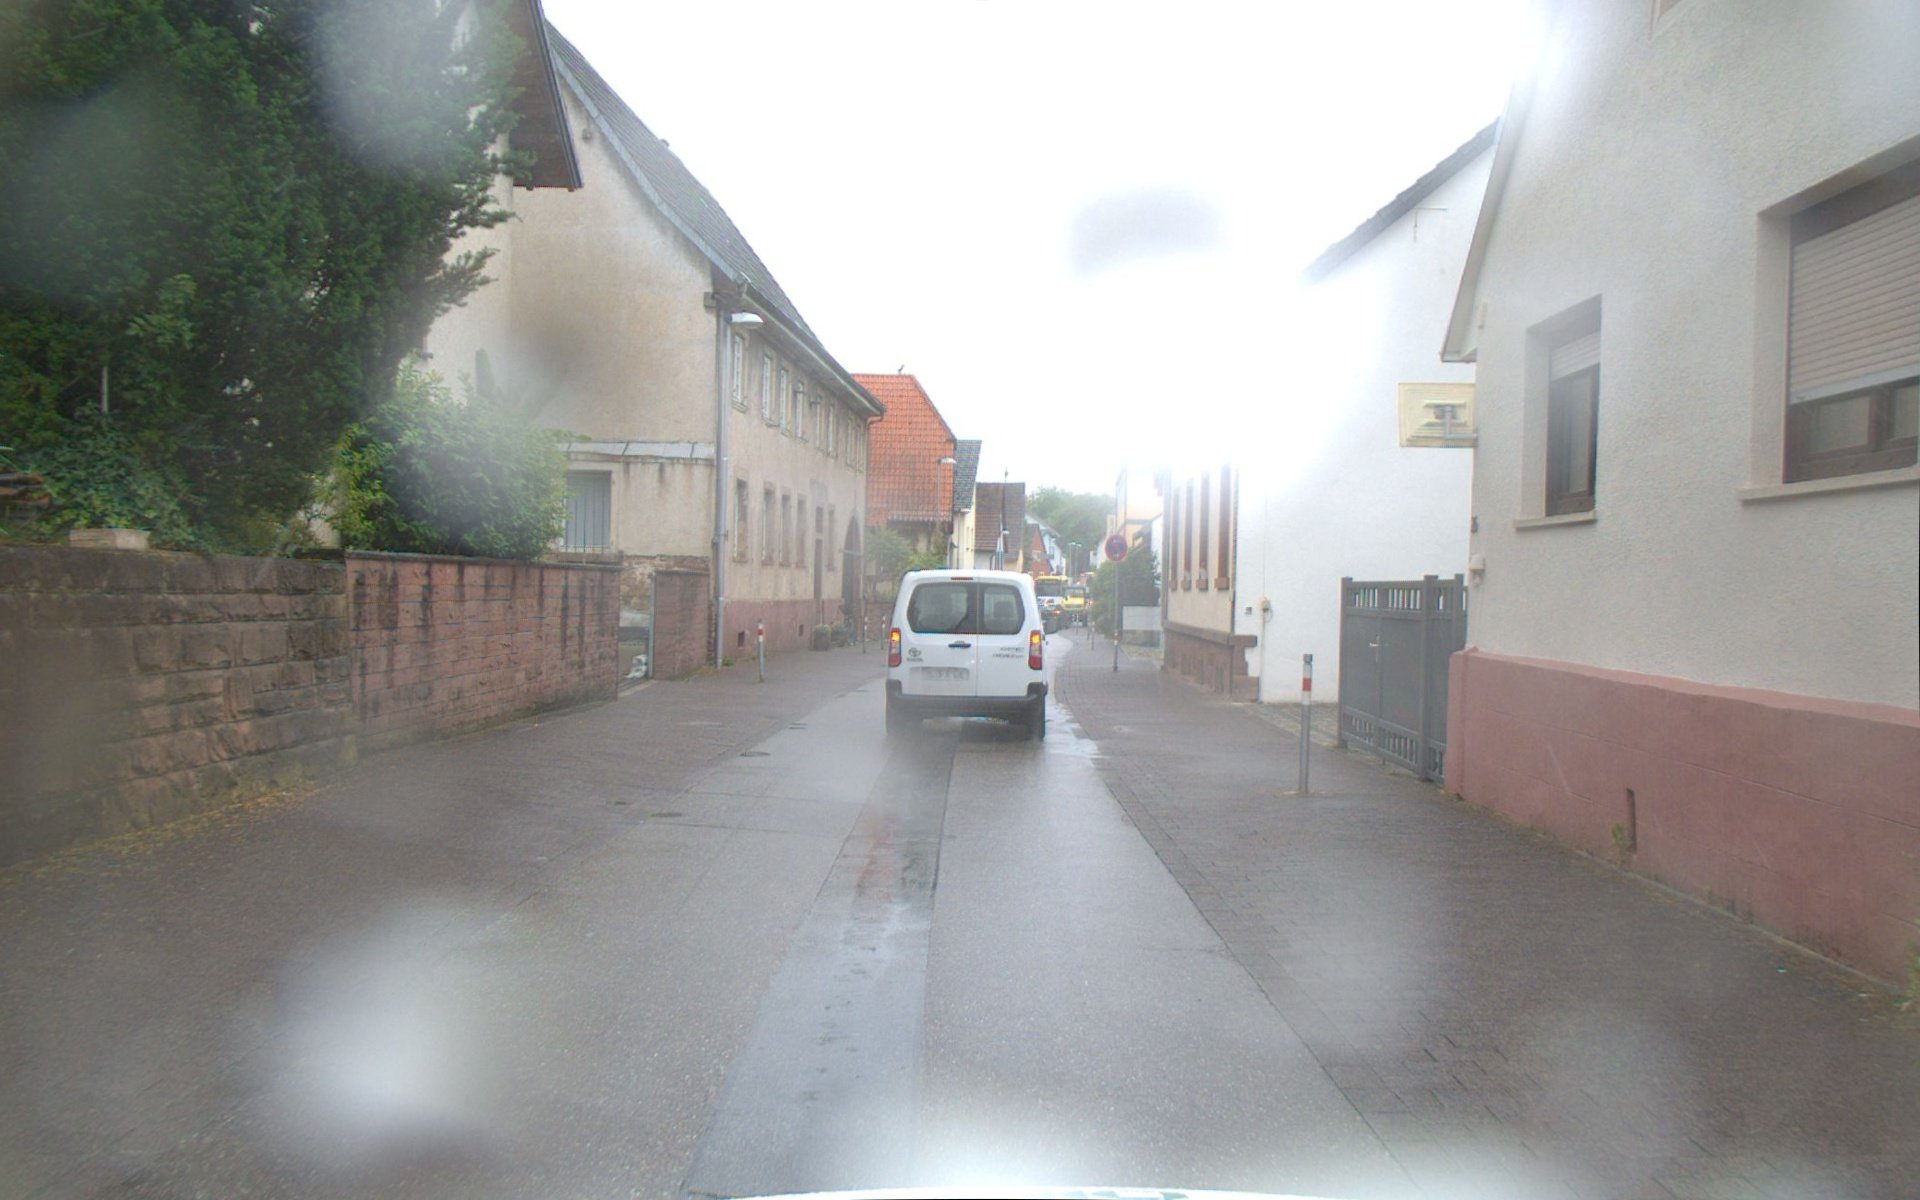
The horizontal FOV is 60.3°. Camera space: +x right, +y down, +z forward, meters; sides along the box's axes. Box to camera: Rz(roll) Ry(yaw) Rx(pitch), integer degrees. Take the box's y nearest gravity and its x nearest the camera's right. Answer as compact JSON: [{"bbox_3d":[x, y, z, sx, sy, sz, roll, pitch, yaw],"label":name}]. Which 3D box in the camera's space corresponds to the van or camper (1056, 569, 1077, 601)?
[{"bbox_3d":[10.751,-1.489,166.541,1.796,2.976,5.366,3,-1,6],"label":"van or camper"}]

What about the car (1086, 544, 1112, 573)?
[{"bbox_3d":[11.360,-3.364,134.952,1.951,2.049,4.002,3,-1,6],"label":"car"}]

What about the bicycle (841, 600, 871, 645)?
[{"bbox_3d":[-2.890,0.632,46.010,0.473,1.201,1.836,3,-1,6],"label":"bicycle"}]

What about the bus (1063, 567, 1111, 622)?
[{"bbox_3d":[8.152,-0.267,106.222,2.735,3.235,8.181,3,-1,4],"label":"bus"}]

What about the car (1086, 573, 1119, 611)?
[{"bbox_3d":[8.277,-0.462,96.177,1.789,2.049,3.695,3,-1,4],"label":"car"}]

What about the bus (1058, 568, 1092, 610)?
[{"bbox_3d":[10.103,-0.932,145.396,2.735,3.387,8.181,3,-1,4],"label":"bus"}]

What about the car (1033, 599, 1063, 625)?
[{"bbox_3d":[5.065,0.727,95.077,1.529,1.395,3.587,3,-1,5],"label":"car"}]

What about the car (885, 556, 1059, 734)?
[{"bbox_3d":[0.245,0.495,19.259,1.757,1.850,4.103,0,-1,4],"label":"car"}]
